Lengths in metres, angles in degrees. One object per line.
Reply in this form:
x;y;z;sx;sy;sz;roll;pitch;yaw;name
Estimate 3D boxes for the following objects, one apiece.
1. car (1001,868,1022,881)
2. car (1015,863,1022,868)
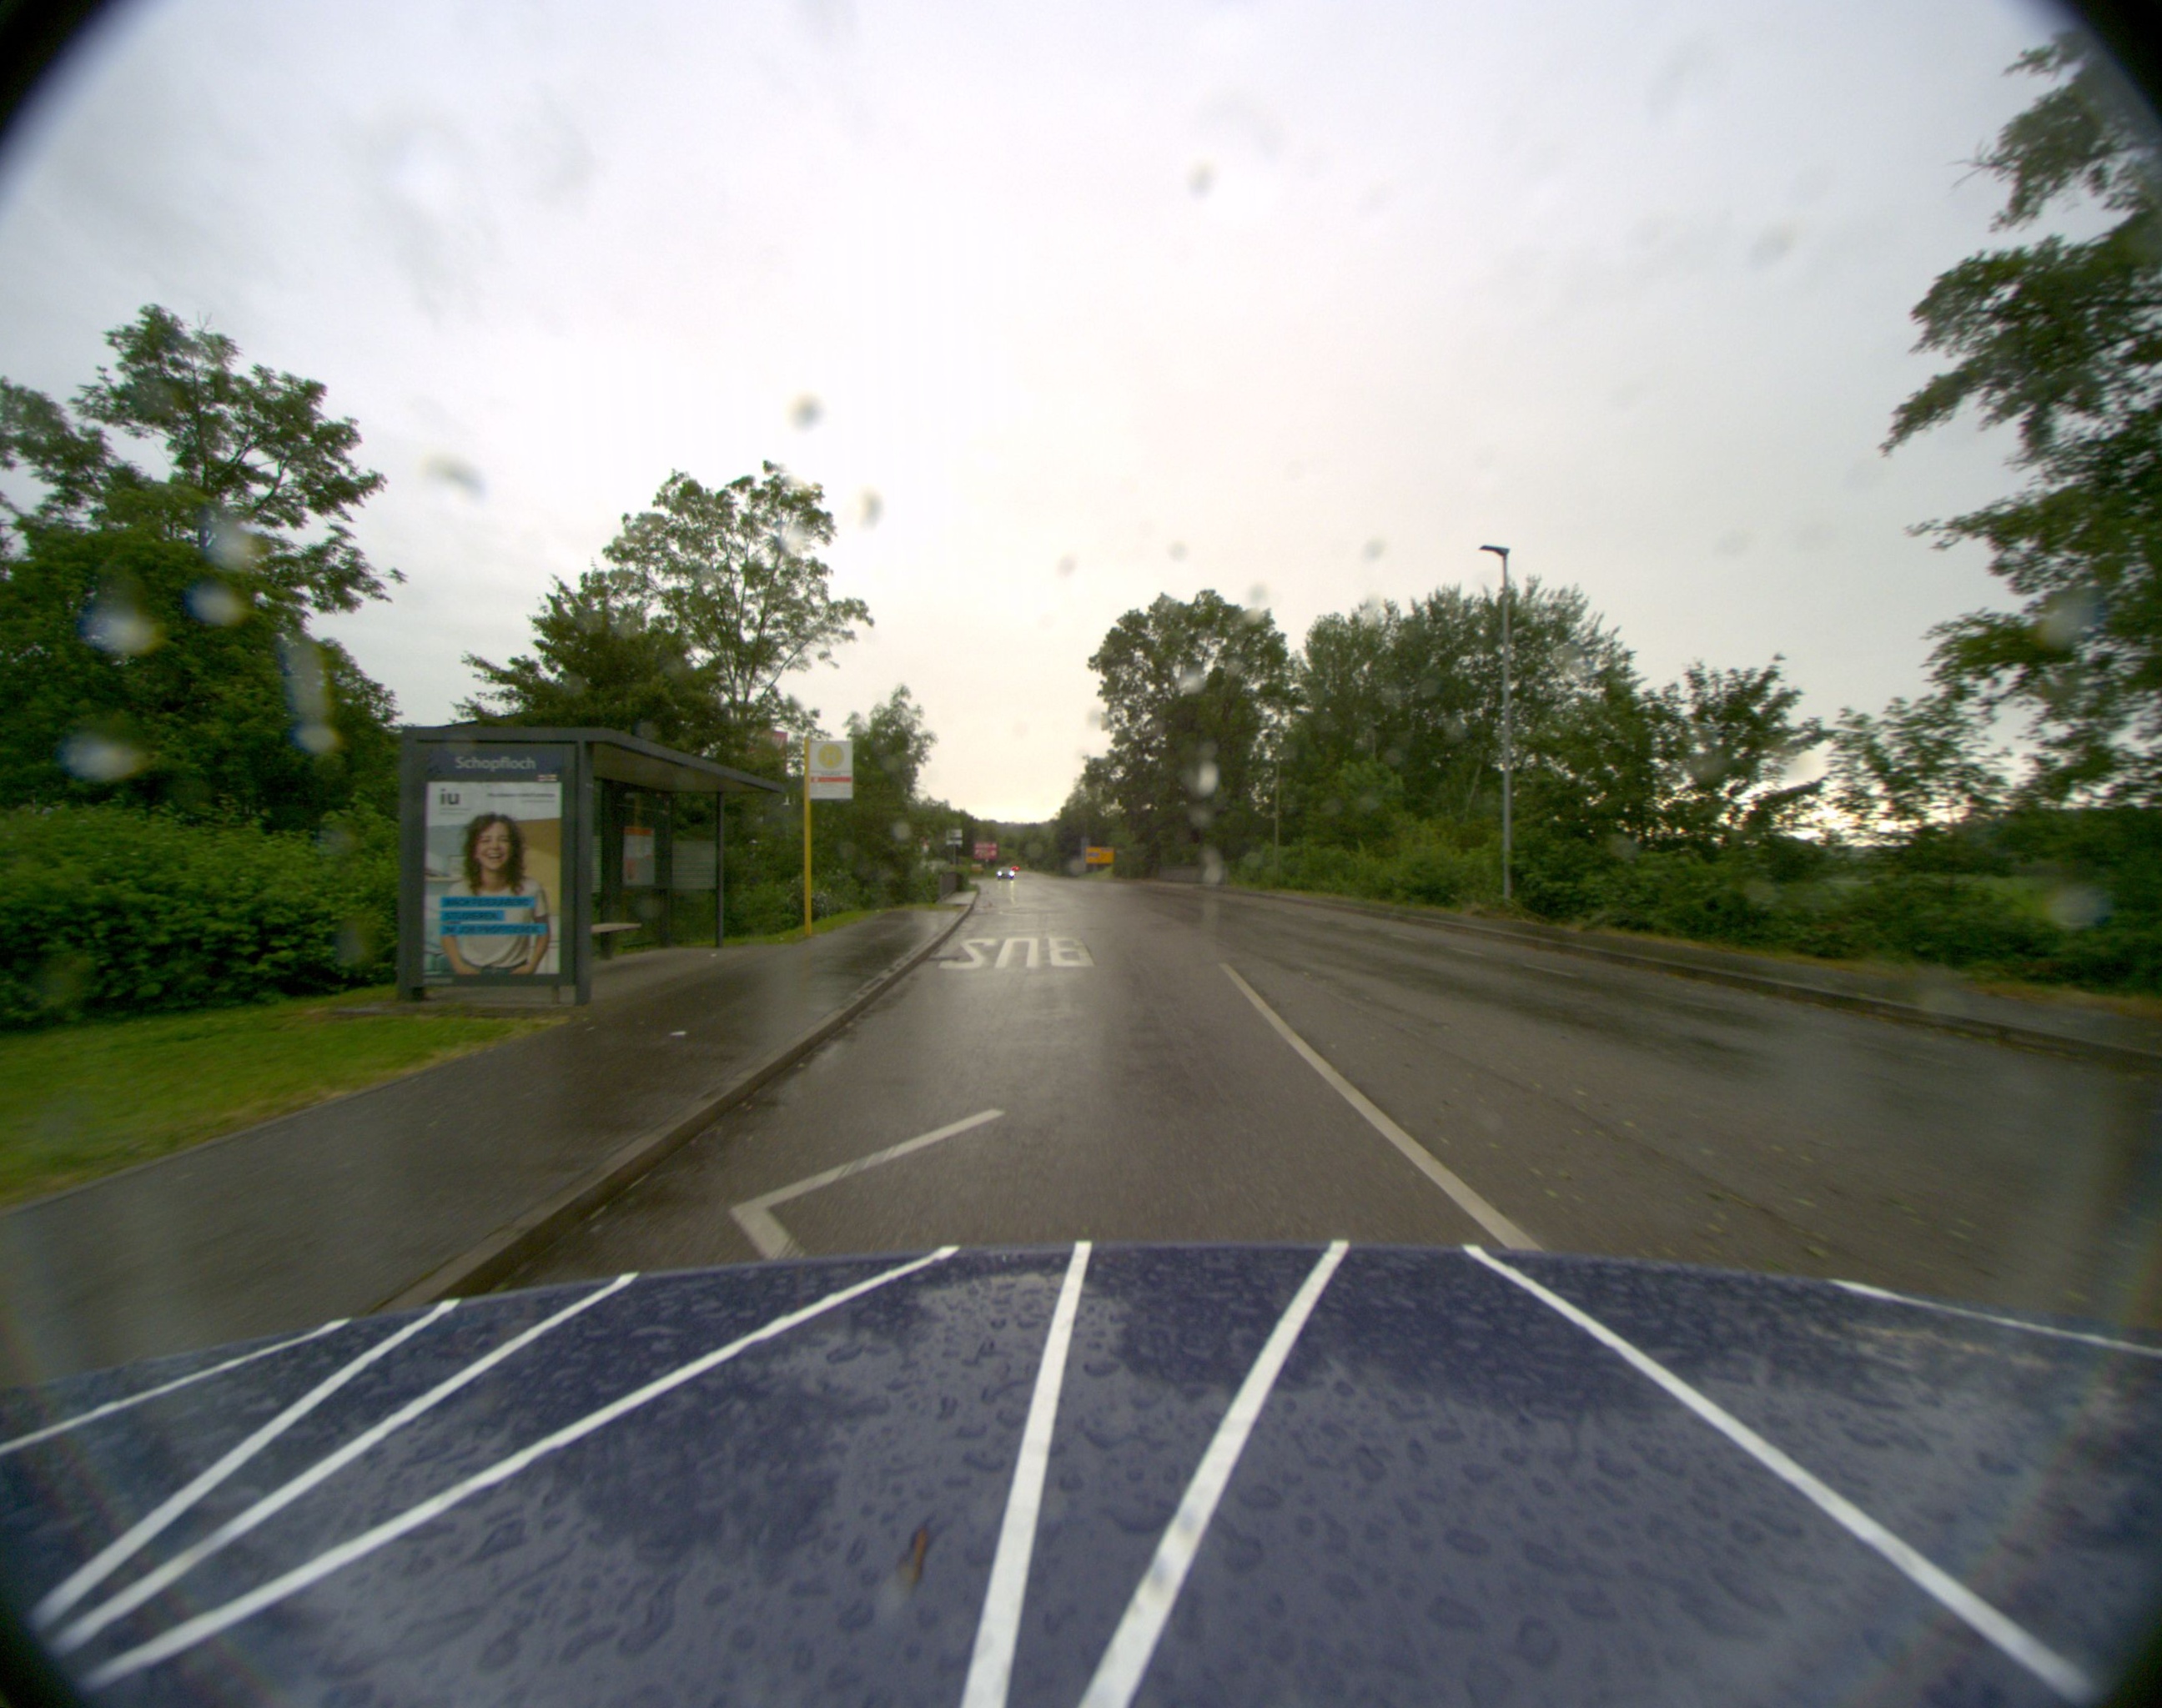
-8.147;2.397;88.972;1.855;1.481;4.122;0;-1;4;car
-17.800;3.228;217.201;1.835;1.514;3.999;0;-1;-4;car
